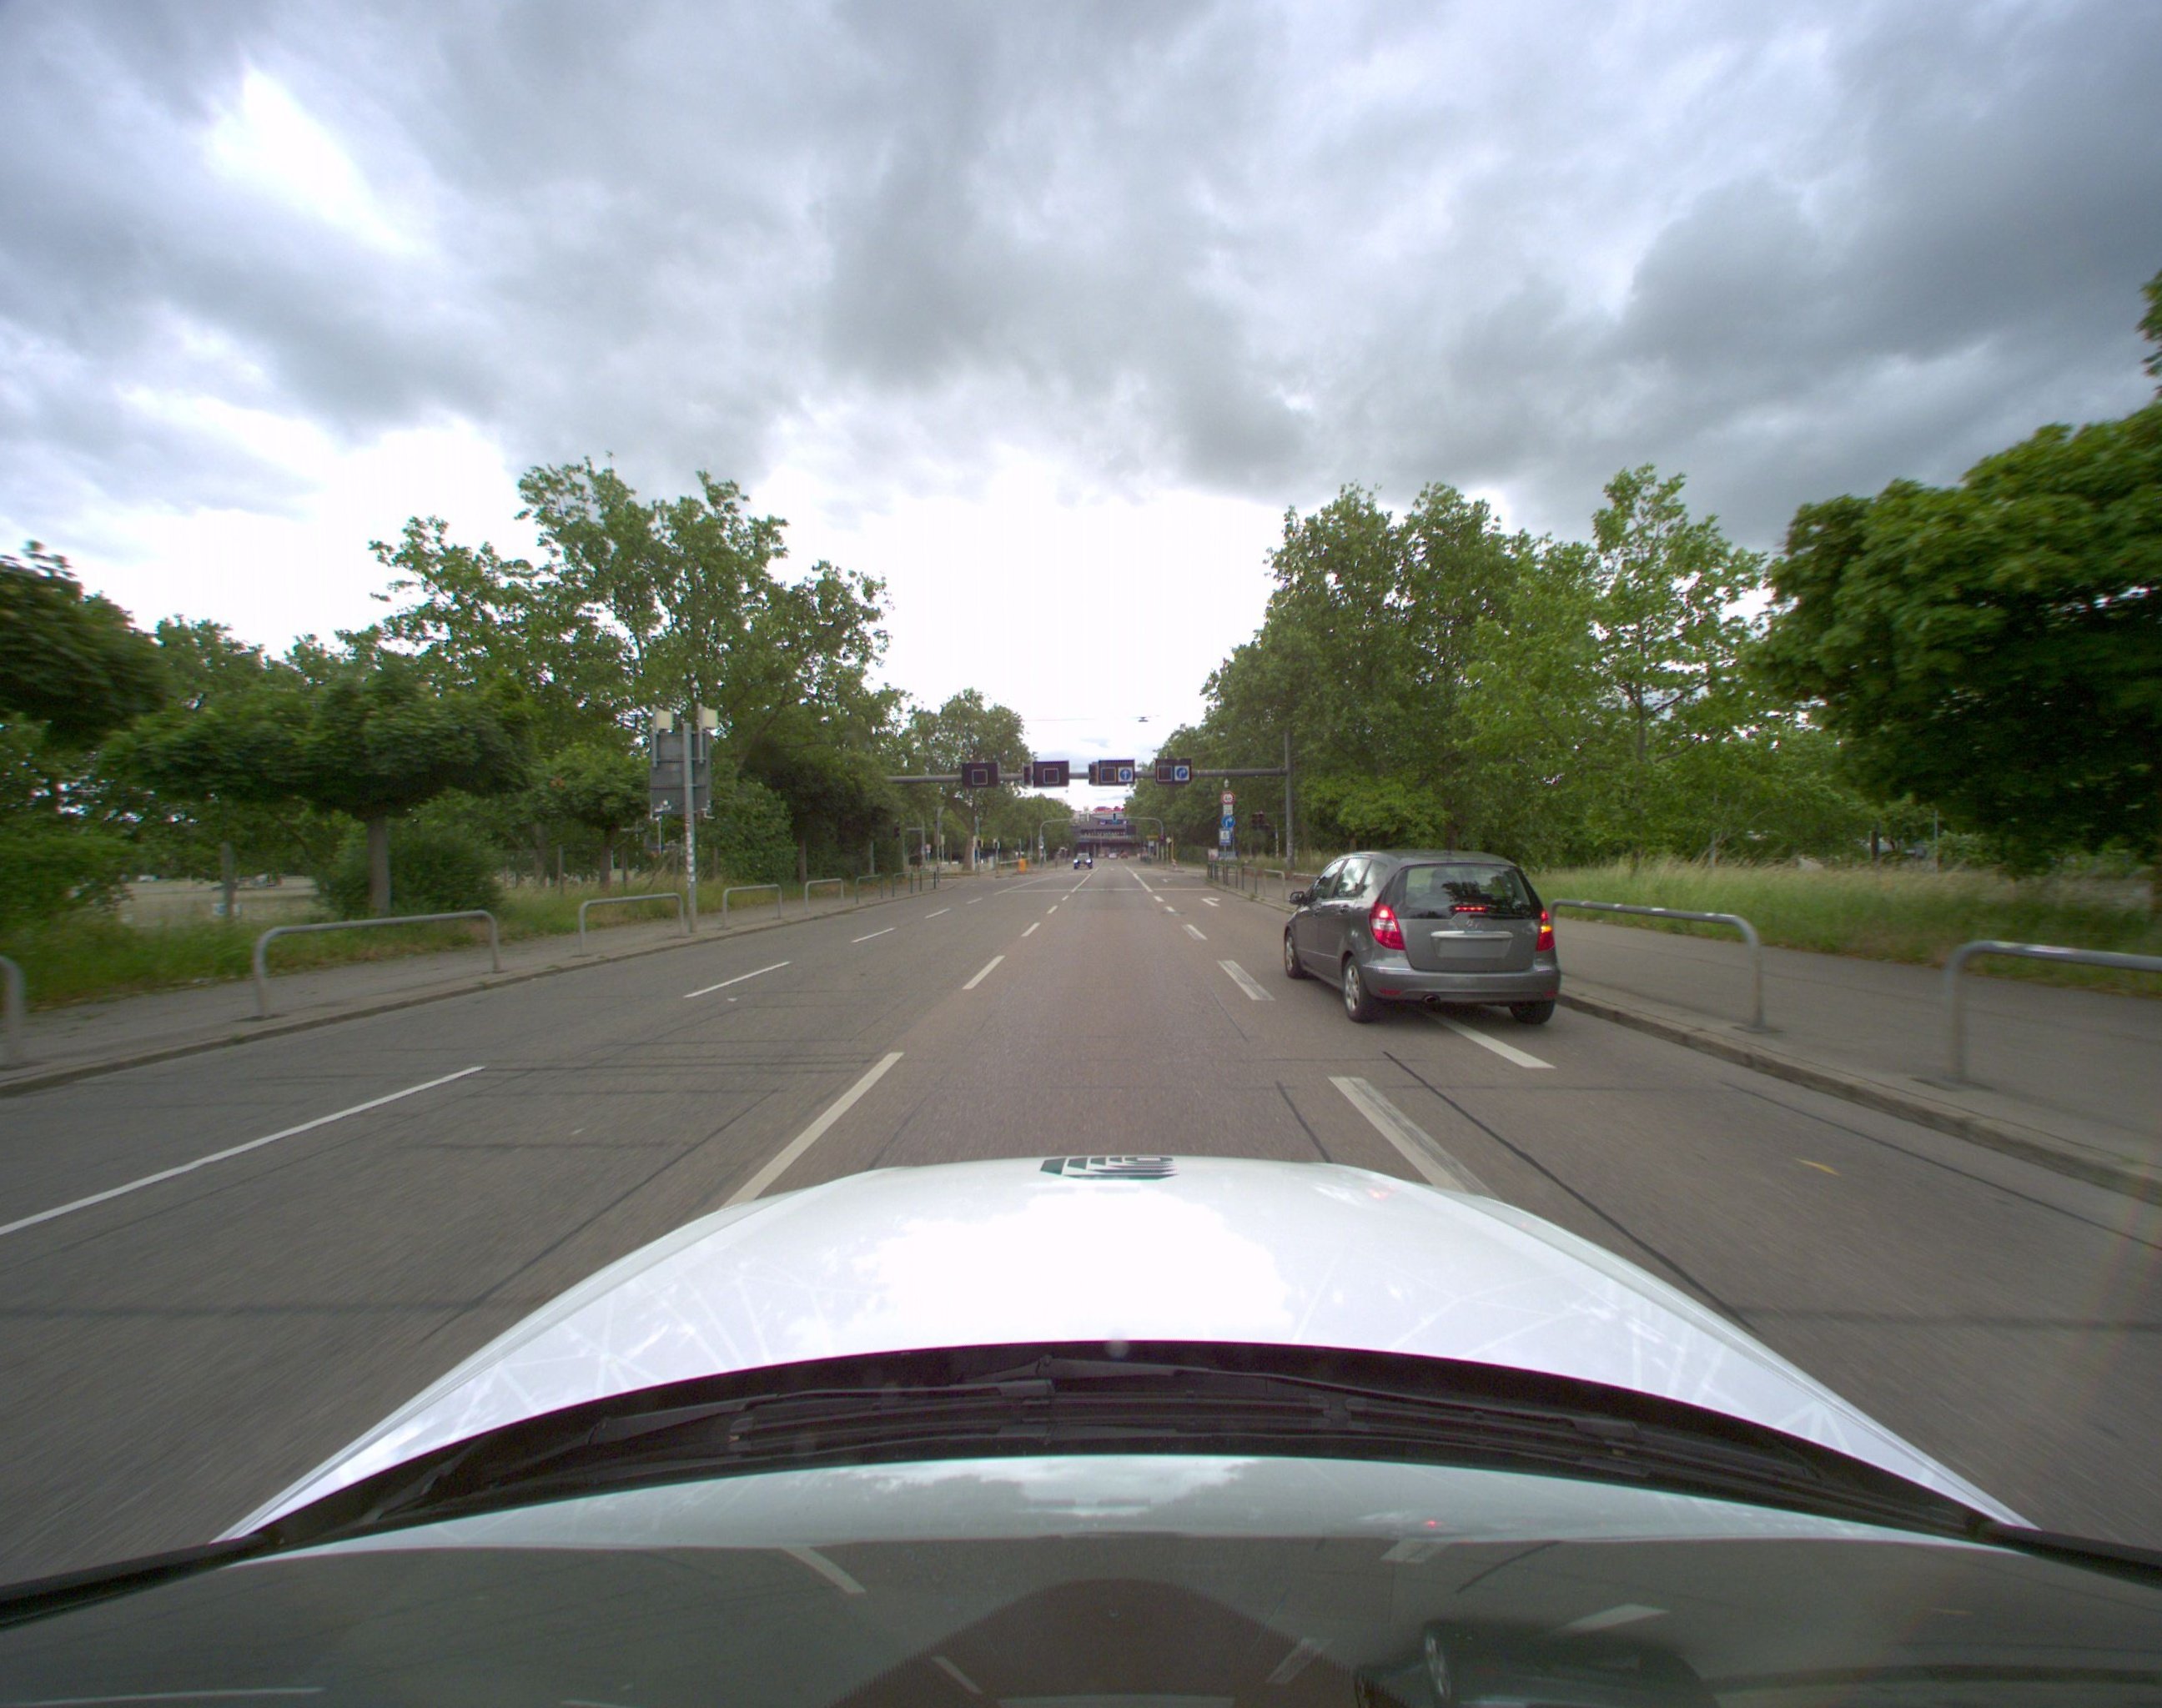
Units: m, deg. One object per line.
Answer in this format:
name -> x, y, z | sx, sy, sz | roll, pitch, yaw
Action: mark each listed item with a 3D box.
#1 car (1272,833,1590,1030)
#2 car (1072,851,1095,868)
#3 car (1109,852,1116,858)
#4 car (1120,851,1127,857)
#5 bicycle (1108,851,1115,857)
car -> 3.353, 0.628, 8.724 | 1.819, 1.616, 4.037 | -1, 0, 2
car -> 0.306, 0.601, 88.511 | 1.984, 1.660, 4.523 | -3, -1, 5
car -> 8.412, 0.249, 218.402 | 1.771, 1.460, 3.825 | 1, -1, 3
car -> 12.616, 0.013, 242.229 | 1.999, 1.698, 4.073 | -1, -1, 3
bicycle -> 8.610, -0.003, 227.827 | 1.986, 1.508, 4.001 | -1, 0, 1
